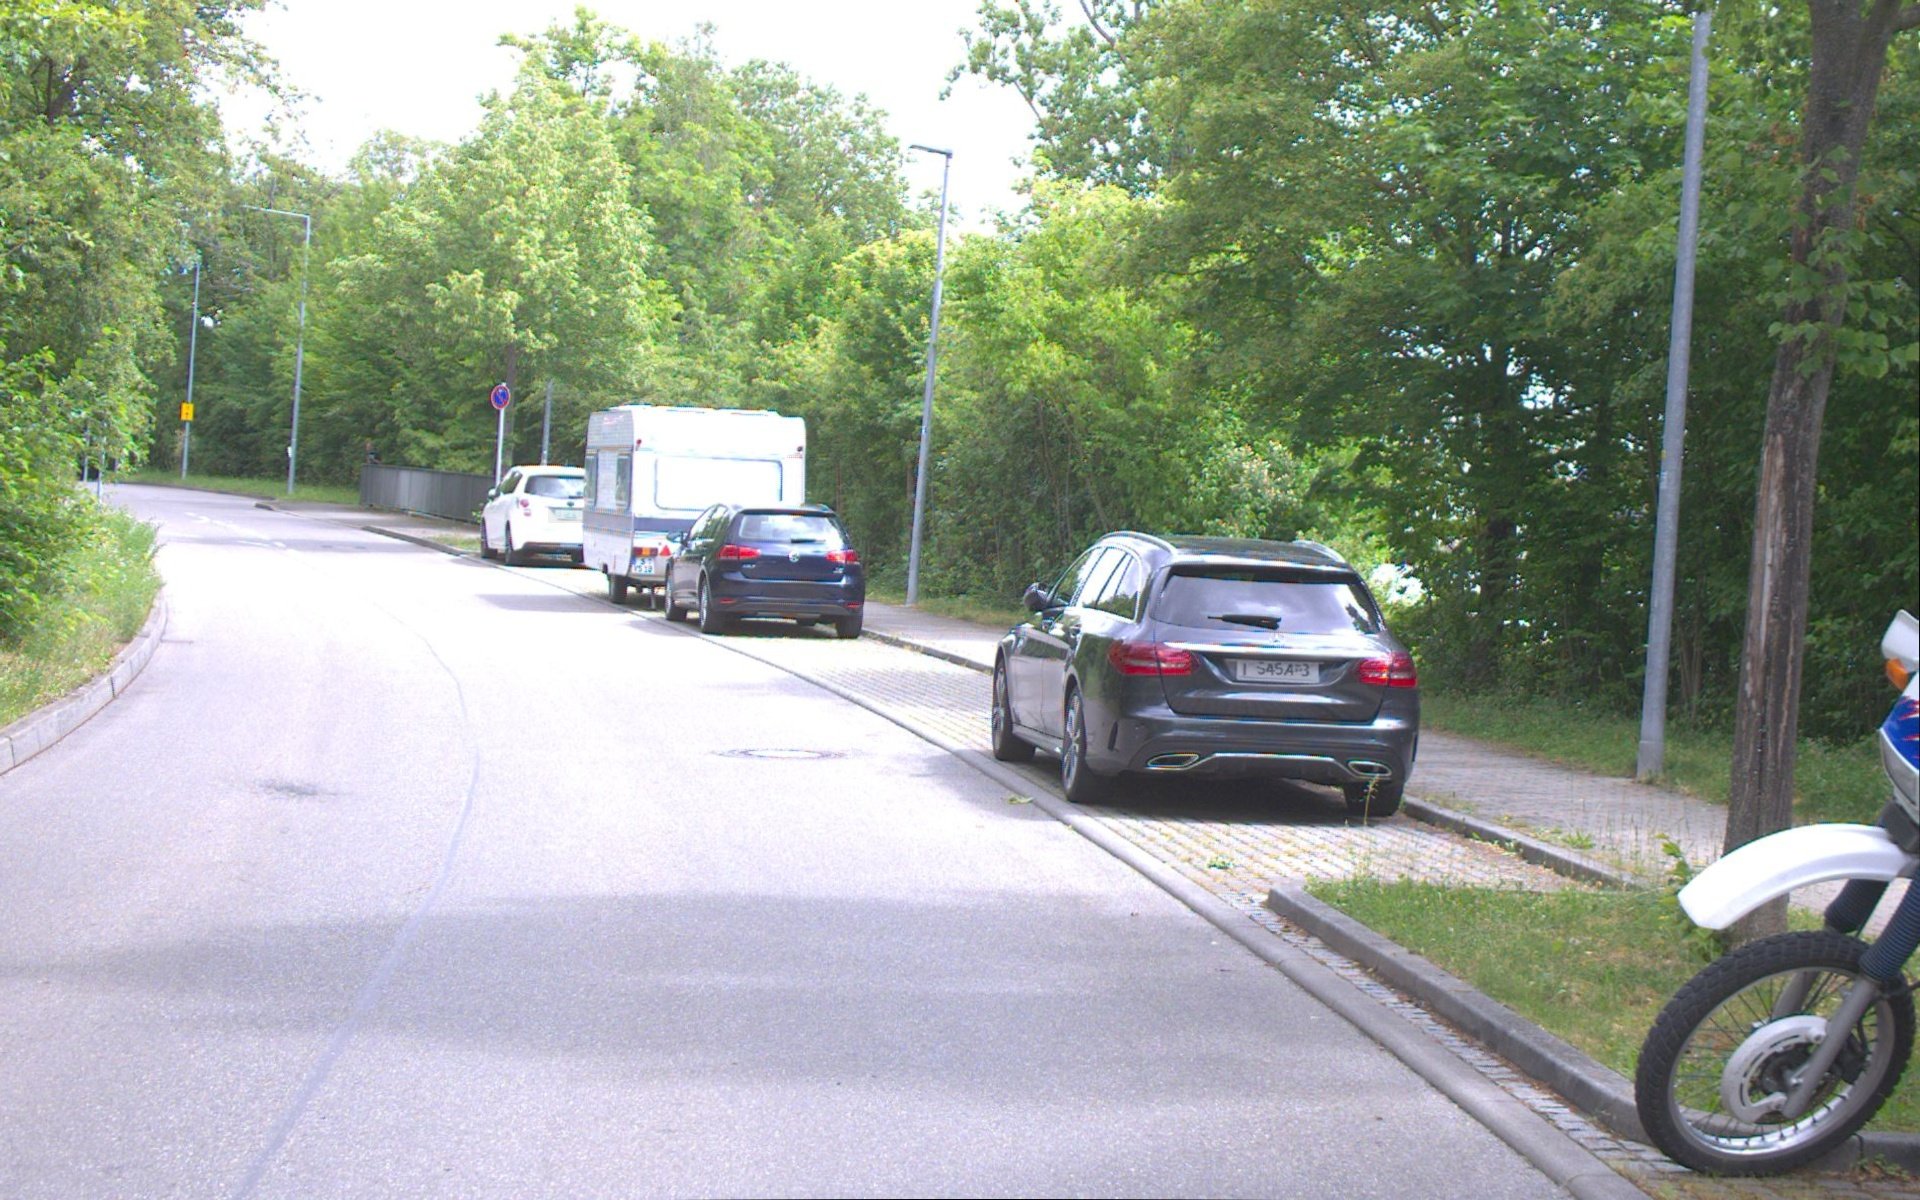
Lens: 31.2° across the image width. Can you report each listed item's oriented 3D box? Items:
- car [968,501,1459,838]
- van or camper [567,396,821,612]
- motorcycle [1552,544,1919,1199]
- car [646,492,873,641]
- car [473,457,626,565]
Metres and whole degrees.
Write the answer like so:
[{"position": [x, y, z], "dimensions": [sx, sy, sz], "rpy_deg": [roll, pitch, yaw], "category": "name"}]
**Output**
[{"position": [1.282, 0.291, 19.477], "dimensions": [1.892, 1.524, 4.547], "rpy_deg": [3, 2, -6], "category": "car"}, {"position": [-3.509, -1.268, 44.333], "dimensions": [2.354, 2.545, 5.076], "rpy_deg": [2, 2, -14], "category": "van or camper"}, {"position": [2.546, 0.642, 7.437], "dimensions": [2.308, 1.471, 0.974], "rpy_deg": [2, 1, 23], "category": "motorcycle"}, {"position": [-2.324, -0.425, 38.762], "dimensions": [1.681, 1.446, 4.482], "rpy_deg": [3, 2, -14], "category": "car"}, {"position": [-6.819, -1.495, 56.753], "dimensions": [1.804, 1.594, 4.374], "rpy_deg": [2, 3, -16], "category": "car"}]
